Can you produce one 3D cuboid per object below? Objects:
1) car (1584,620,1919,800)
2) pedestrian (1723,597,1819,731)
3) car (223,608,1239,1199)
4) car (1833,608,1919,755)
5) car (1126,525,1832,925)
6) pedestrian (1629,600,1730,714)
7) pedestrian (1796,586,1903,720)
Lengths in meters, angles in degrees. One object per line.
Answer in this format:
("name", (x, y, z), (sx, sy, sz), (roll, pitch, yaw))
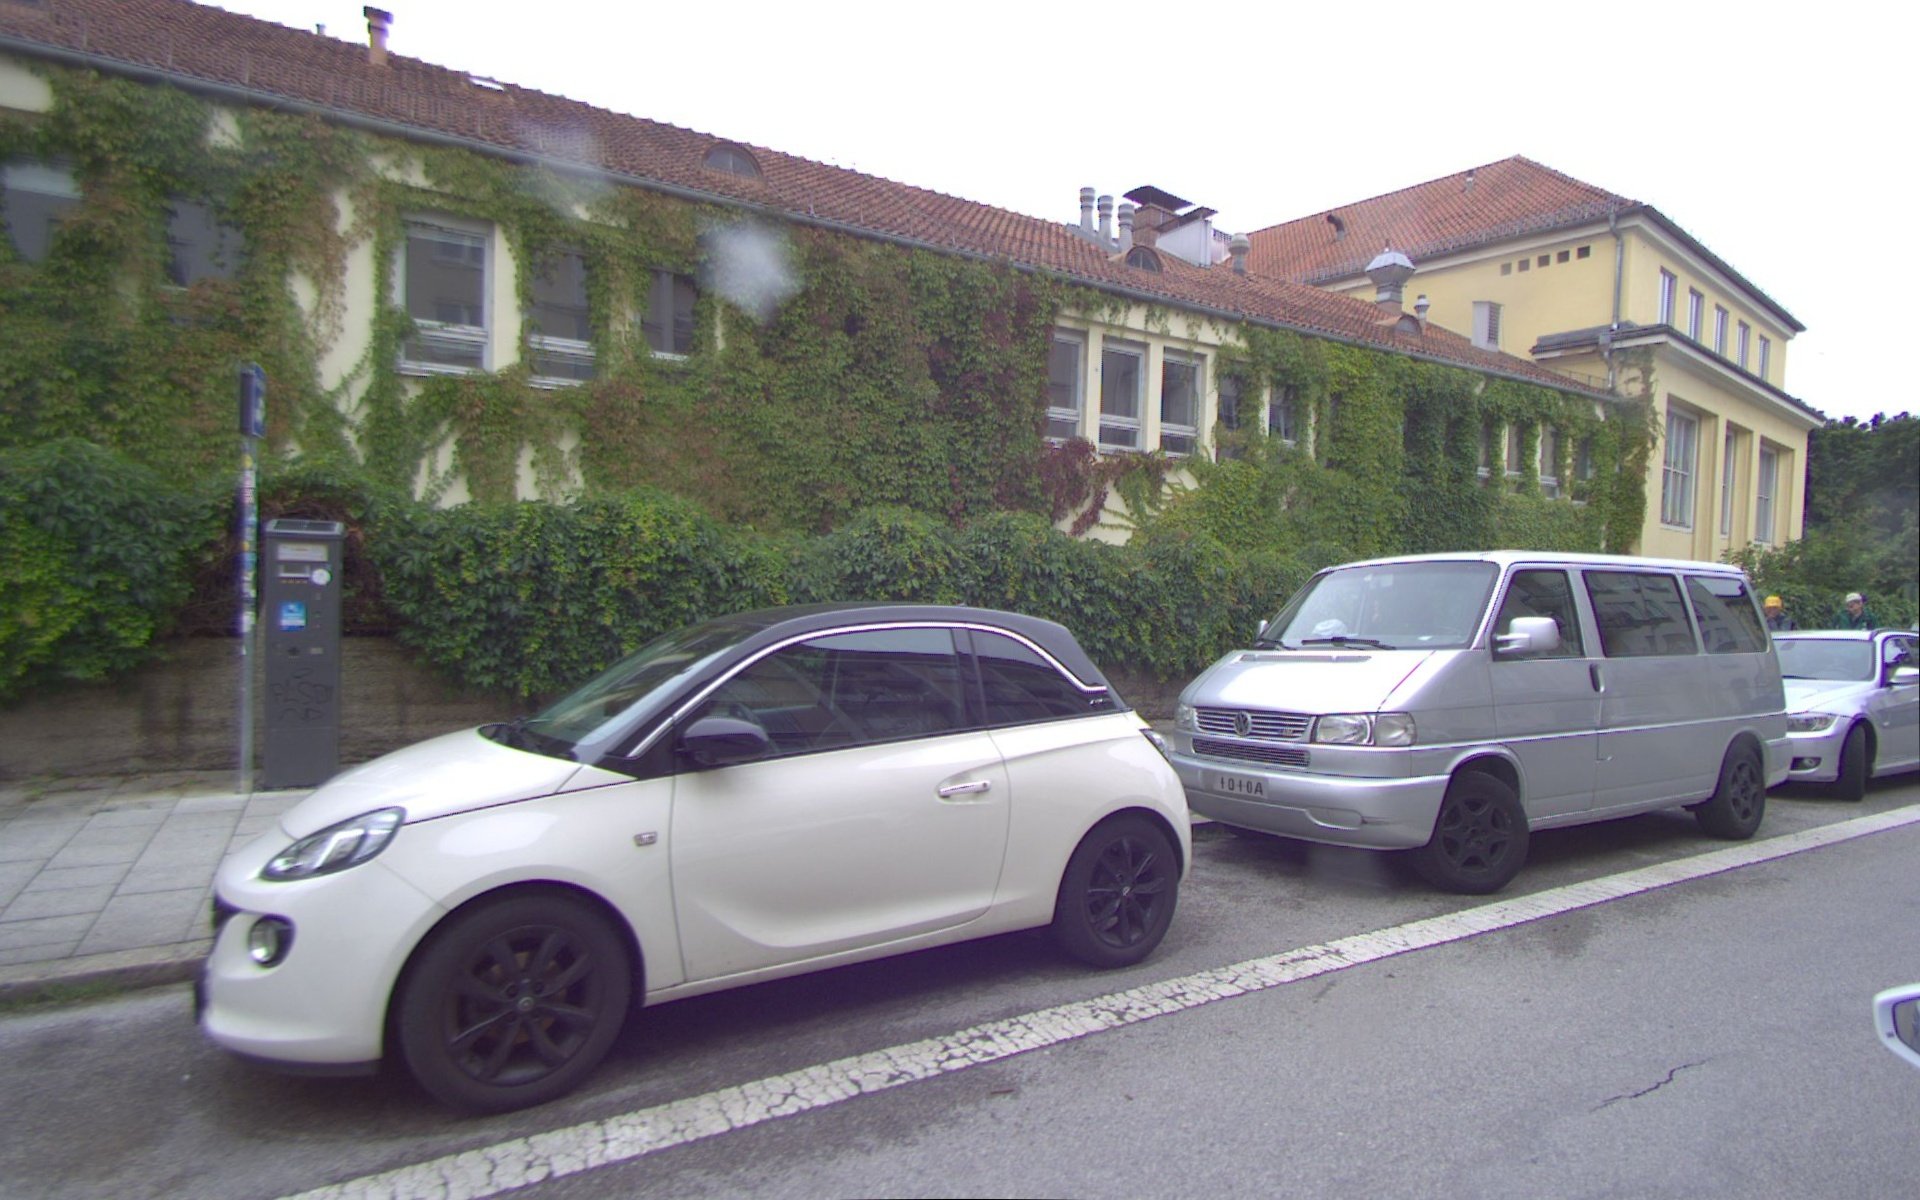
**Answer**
("car", (8.190, 0.940, 9.732), (4.439, 1.395, 1.795), (1, -3, -31))
("pedestrian", (10.579, 0.806, 13.106), (0.862, 1.675, 0.678), (1, 2, -32))
("car", (-0.720, 0.767, 4.080), (3.519, 1.428, 1.658), (1, -1, -32))
("car", (12.569, 0.926, 12.246), (4.441, 1.628, 1.693), (1, -2, -32))
("car", (3.583, 0.631, 6.661), (4.824, 1.822, 1.884), (1, -3, -31))
("pedestrian", (10.099, 0.780, 14.107), (0.862, 1.514, 0.839), (1, 1, -29))
("pedestrian", (12.432, 0.710, 14.043), (0.862, 1.778, 0.839), (1, 1, -30))
